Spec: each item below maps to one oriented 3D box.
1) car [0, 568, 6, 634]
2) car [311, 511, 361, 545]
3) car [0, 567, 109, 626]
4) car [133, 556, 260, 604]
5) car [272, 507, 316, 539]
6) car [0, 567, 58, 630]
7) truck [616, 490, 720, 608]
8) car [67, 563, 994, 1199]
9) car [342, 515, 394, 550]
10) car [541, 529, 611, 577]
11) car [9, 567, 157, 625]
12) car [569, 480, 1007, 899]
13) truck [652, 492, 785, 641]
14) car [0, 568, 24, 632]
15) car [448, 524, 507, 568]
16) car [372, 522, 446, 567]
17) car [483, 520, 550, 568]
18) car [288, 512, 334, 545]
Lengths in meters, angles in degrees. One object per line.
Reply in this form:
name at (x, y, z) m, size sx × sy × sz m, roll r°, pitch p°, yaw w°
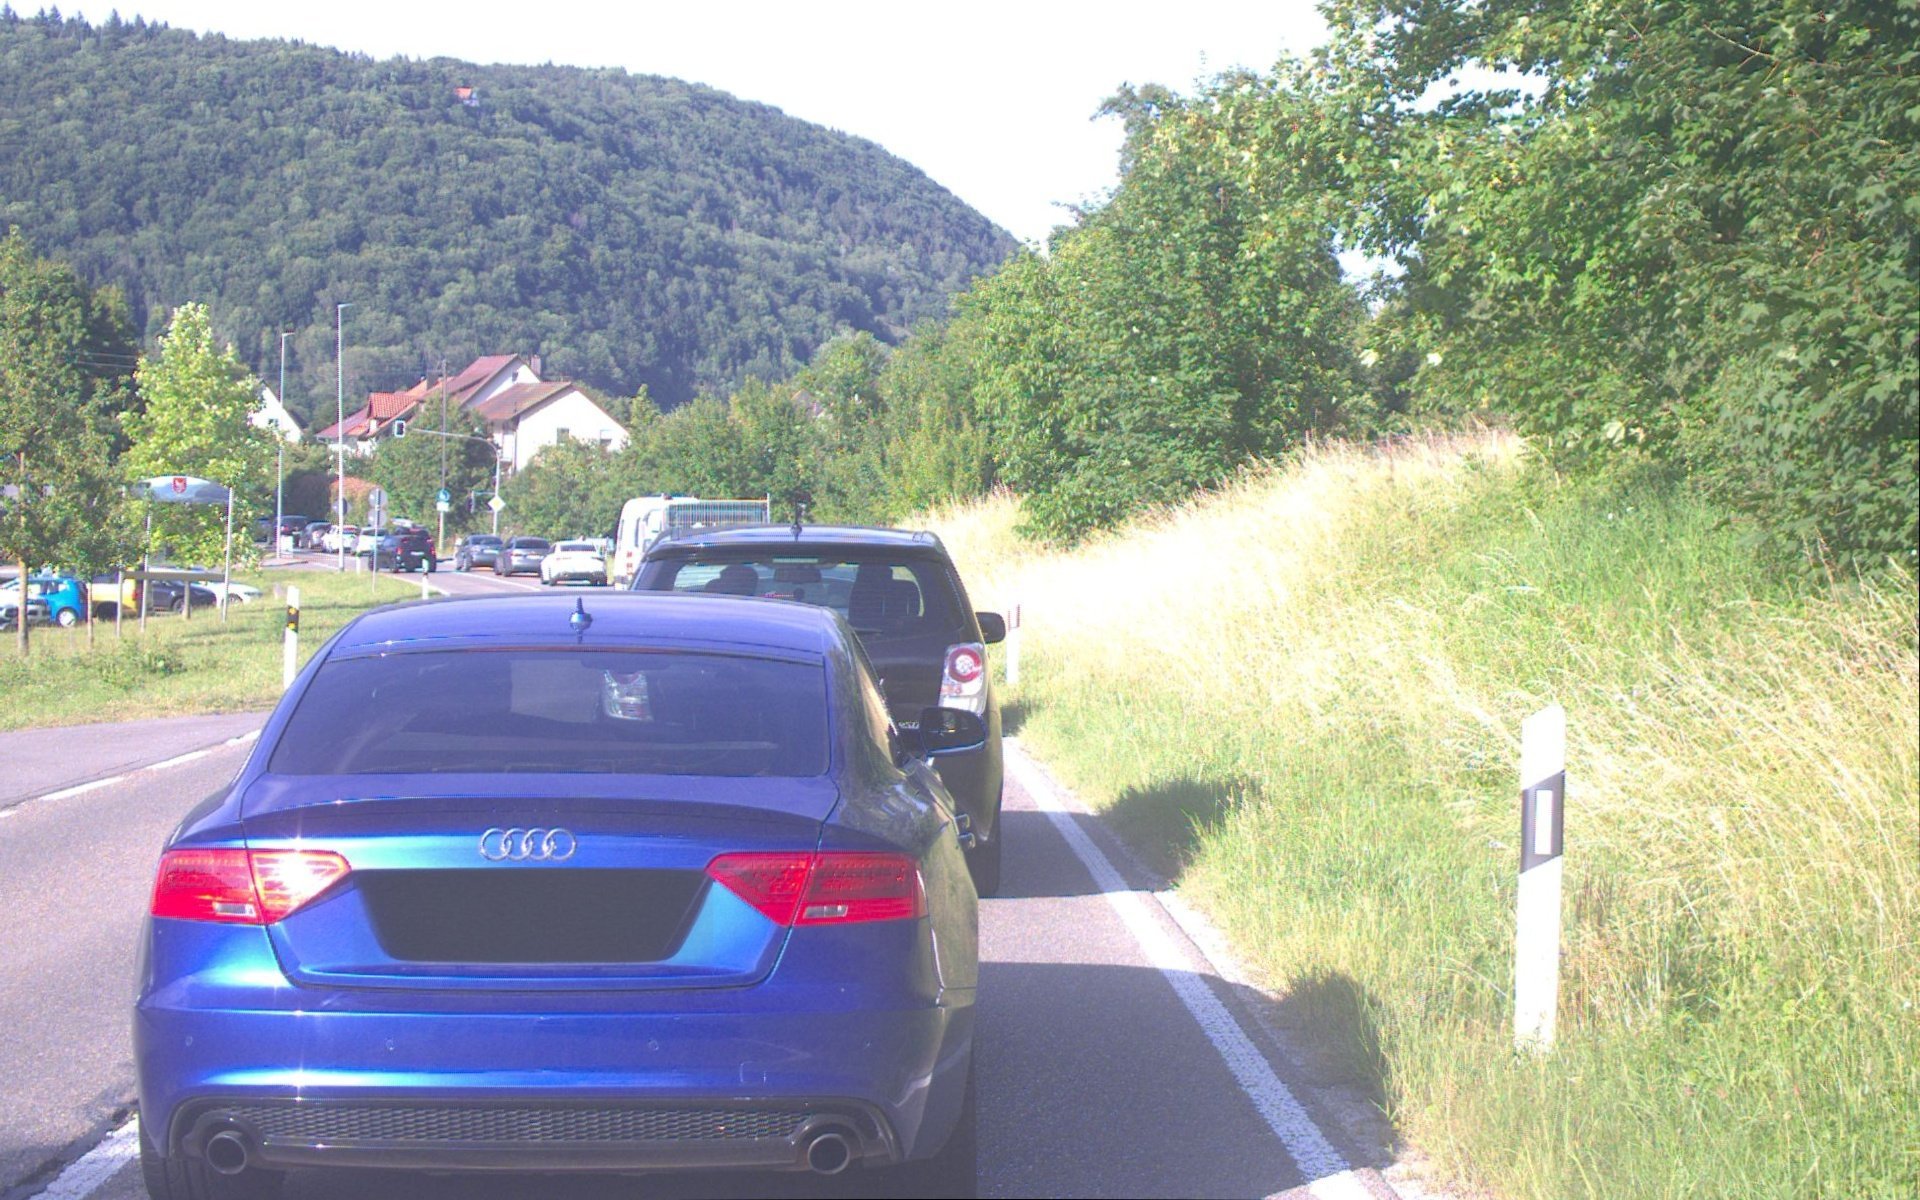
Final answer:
car at (-26.843, 0.006, 88.594) m, size 3.986 × 1.705 × 2.000 m, roll 1°, pitch 0°, yaw -3°
car at (-32.365, -3.705, 178.210) m, size 1.845 × 1.706 × 4.001 m, roll 1°, pitch 1°, yaw -20°
car at (-27.312, -0.114, 101.322) m, size 3.986 × 1.705 × 2.000 m, roll 1°, pitch 0°, yaw -3°
car at (-26.312, -0.699, 118.557) m, size 3.986 × 1.573 × 1.753 m, roll 1°, pitch 0°, yaw -3°
car at (-37.611, -4.335, 194.073) m, size 1.845 × 1.706 × 4.001 m, roll 1°, pitch 1°, yaw -20°
car at (-27.302, -0.062, 95.535) m, size 3.986 × 1.705 × 2.000 m, roll 1°, pitch 0°, yaw -3°
truck at (-6.692, -1.159, 79.025) m, size 2.229 × 2.561 × 6.709 m, roll 1°, pitch 0°, yaw -5°
car at (-0.811, 0.636, 8.472) m, size 1.754 × 1.425 × 3.846 m, roll 1°, pitch 0°, yaw 0°
car at (-29.363, -3.330, 170.553) m, size 1.845 × 1.706 × 4.001 m, roll 1°, pitch 1°, yaw -20°
car at (-12.316, -1.497, 110.164) m, size 1.845 × 1.477 × 4.001 m, roll 1°, pitch 0°, yaw -12°
car at (-26.512, -0.128, 103.997) m, size 3.986 × 1.705 × 2.000 m, roll 1°, pitch 0°, yaw -3°
car at (-0.689, 0.347, 15.871) m, size 1.754 × 1.675 × 3.846 m, roll 1°, pitch 0°, yaw 0°
truck at (-4.461, -0.610, 62.612) m, size 2.229 × 2.561 × 6.105 m, roll 1°, pitch 0°, yaw -5°
car at (-27.365, -0.033, 92.251) m, size 3.986 × 1.705 × 2.000 m, roll 1°, pitch 0°, yaw -3°
car at (-19.271, -2.156, 137.288) m, size 1.845 × 1.706 × 4.001 m, roll 1°, pitch 0°, yaw -15°
car at (-21.338, -2.146, 133.069) m, size 1.845 × 1.706 × 4.001 m, roll 1°, pitch 1°, yaw -24°
car at (-16.160, -2.026, 125.142) m, size 1.845 × 1.706 × 4.001 m, roll 1°, pitch 0°, yaw -15°
car at (-35.242, -3.882, 186.601) m, size 1.845 × 1.706 × 4.001 m, roll 1°, pitch 1°, yaw -20°
